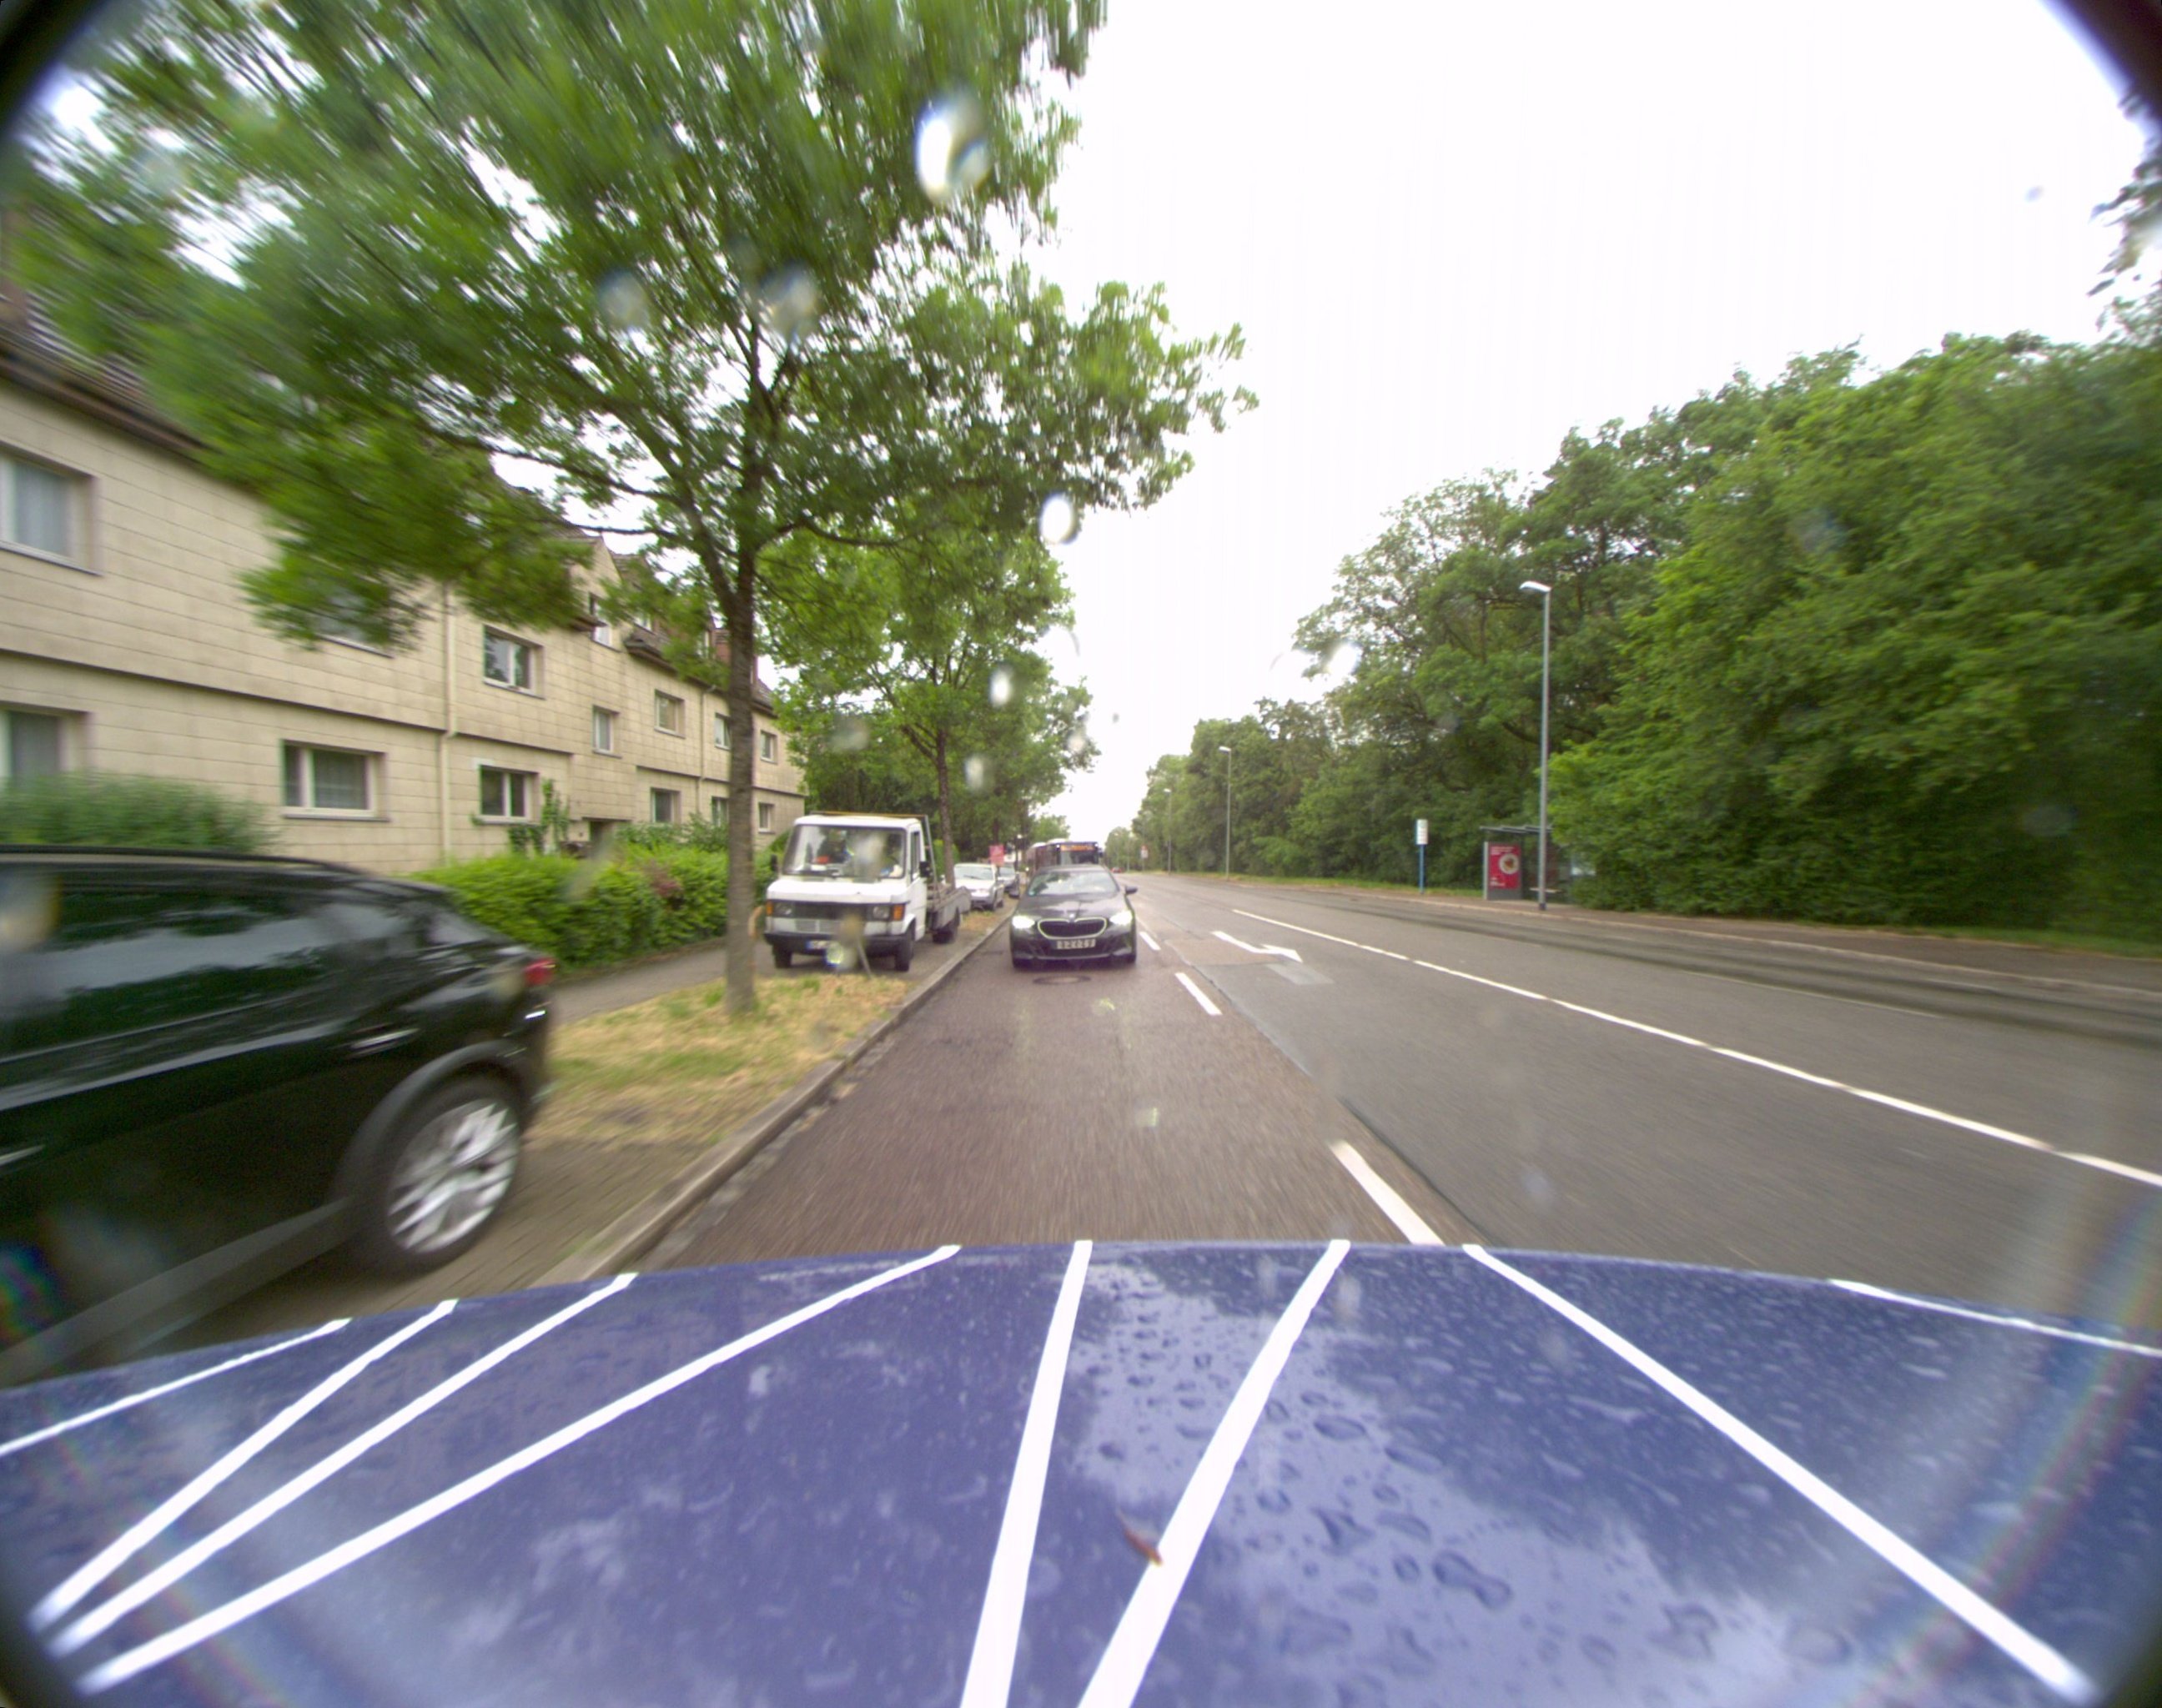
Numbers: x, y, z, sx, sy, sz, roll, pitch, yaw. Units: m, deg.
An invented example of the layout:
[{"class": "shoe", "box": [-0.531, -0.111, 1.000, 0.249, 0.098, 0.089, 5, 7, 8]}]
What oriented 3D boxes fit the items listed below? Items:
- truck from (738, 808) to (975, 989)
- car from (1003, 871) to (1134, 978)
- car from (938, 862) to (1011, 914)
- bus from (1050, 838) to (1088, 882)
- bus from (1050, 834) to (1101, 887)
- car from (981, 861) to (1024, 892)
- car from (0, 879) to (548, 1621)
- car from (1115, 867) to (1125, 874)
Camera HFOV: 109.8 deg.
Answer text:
[{"class": "truck", "box": [-3.276, 0.580, 12.827, 2.085, 2.208, 6.501, 2, 0, -1]}, {"class": "car", "box": [-0.182, 1.066, 13.200, 1.855, 1.461, 4.483, -1, -1, 0]}, {"class": "car", "box": [-3.236, 1.015, 23.757, 1.605, 1.428, 4.022, 3, -1, 1]}, {"class": "bus", "box": [-1.005, 0.439, 56.321, 2.562, 2.942, 8.555, -1, 0, -3]}, {"class": "bus", "box": [-0.503, 0.391, 47.378, 2.564, 2.942, 9.447, -1, 0, -4]}, {"class": "car", "box": [-3.777, 1.076, 37.353, 1.692, 1.381, 4.499, 2, 0, -1]}, {"class": "car", "box": [-3.156, 0.873, 1.155, 1.718, 1.490, 4.183, 2, 0, 0]}, {"class": "car", "box": [8.267, 3.457, 162.016, 1.748, 1.423, 4.388, 2, 0, -2]}]
